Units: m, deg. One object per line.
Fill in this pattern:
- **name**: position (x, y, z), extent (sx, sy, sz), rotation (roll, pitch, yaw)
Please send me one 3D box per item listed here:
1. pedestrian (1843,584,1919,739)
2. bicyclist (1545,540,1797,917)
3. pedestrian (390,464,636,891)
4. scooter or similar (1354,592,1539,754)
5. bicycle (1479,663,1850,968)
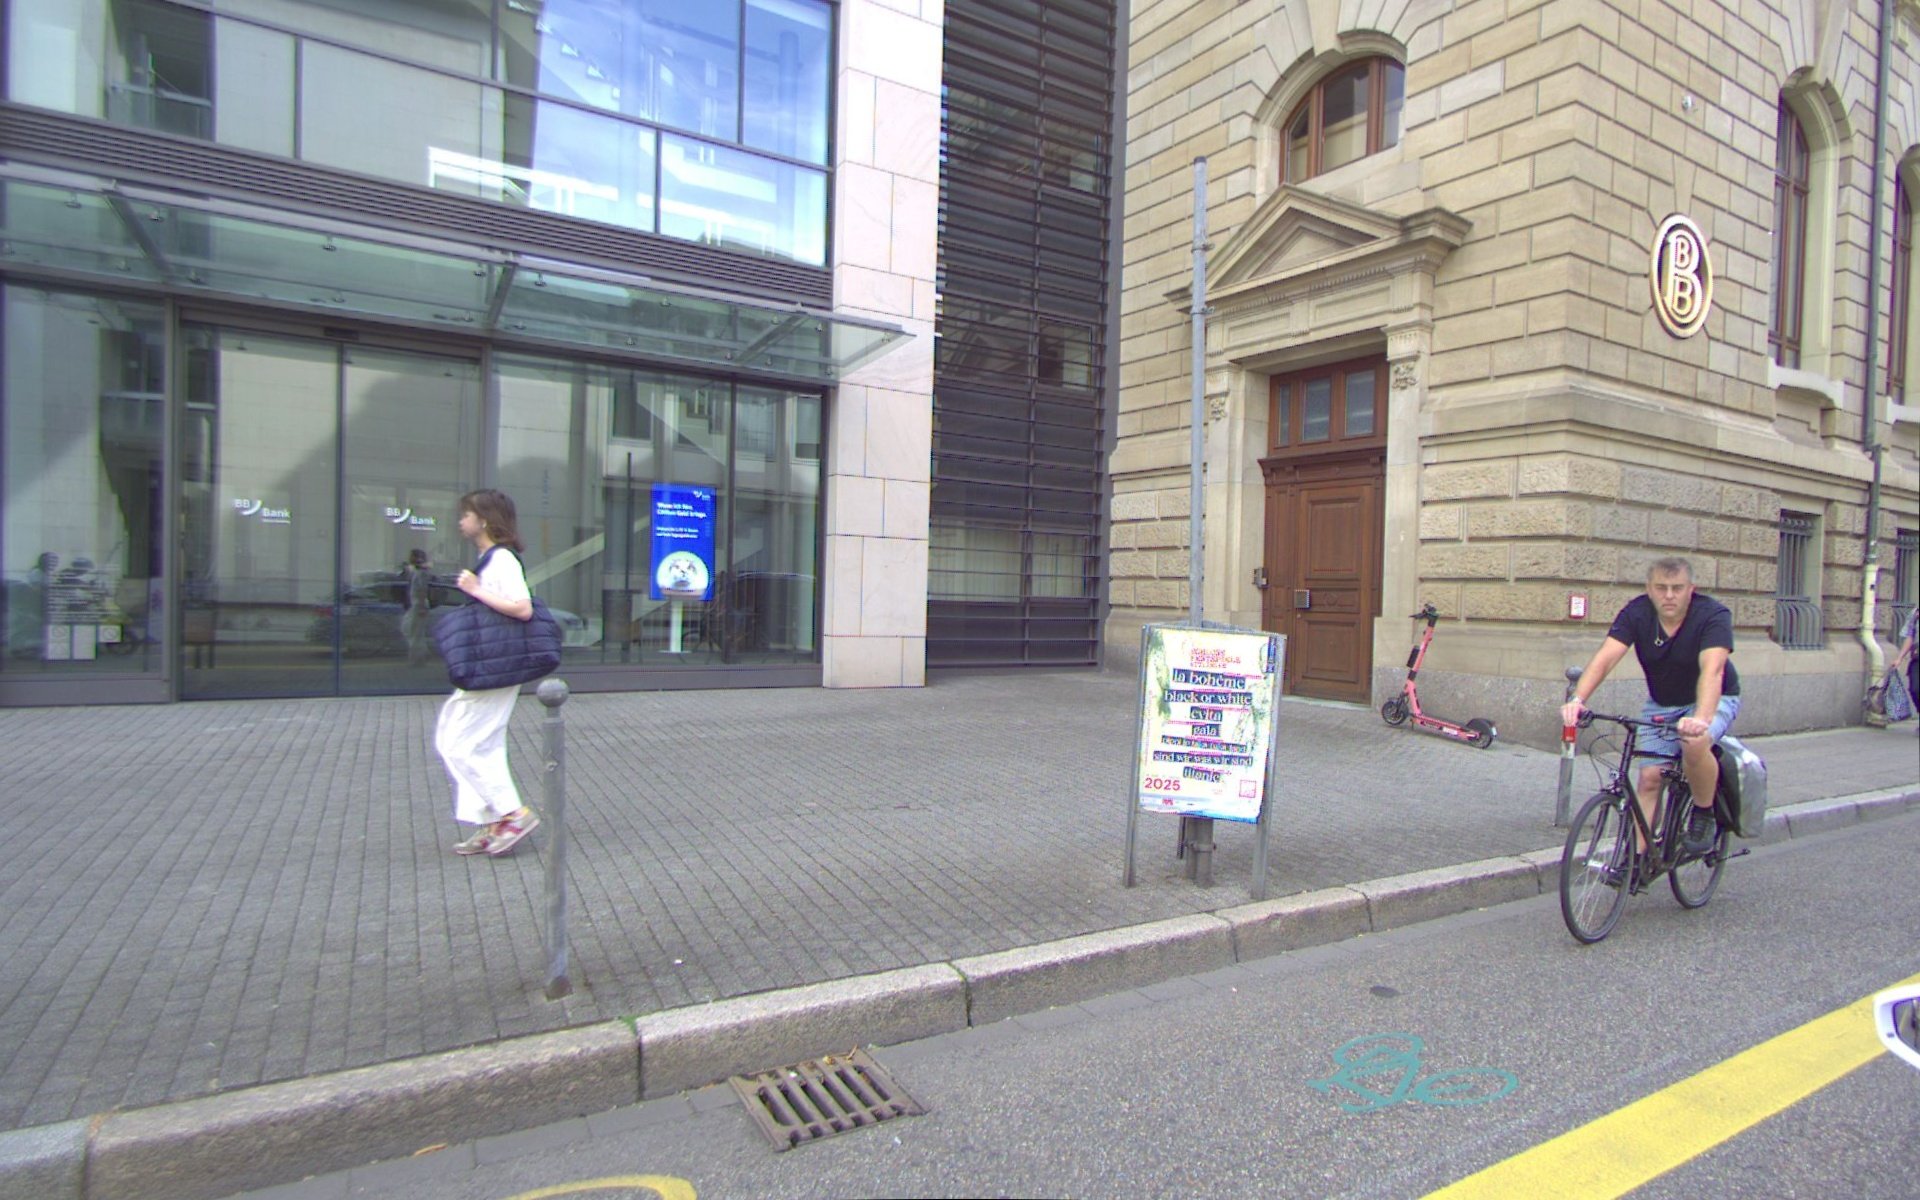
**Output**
- **pedestrian**: position (11.216, 0.716, 11.763), extent (0.809, 1.743, 1.021), rotation (2, 2, -30)
- **bicyclist**: position (3.507, 0.591, 4.973), extent (0.927, 1.675, 0.641), rotation (1, -2, -26)
- **pedestrian**: position (-2.093, 0.303, 4.651), extent (0.900, 1.731, 0.872), rotation (2, 4, -31)
- **scooter or similar**: position (4.561, 0.639, 9.510), extent (0.580, 1.328, 1.439), rotation (0, 4, -30)
- **bicycle**: position (3.498, 0.952, 4.959), extent (1.927, 1.257, 0.645), rotation (2, -2, -26)
